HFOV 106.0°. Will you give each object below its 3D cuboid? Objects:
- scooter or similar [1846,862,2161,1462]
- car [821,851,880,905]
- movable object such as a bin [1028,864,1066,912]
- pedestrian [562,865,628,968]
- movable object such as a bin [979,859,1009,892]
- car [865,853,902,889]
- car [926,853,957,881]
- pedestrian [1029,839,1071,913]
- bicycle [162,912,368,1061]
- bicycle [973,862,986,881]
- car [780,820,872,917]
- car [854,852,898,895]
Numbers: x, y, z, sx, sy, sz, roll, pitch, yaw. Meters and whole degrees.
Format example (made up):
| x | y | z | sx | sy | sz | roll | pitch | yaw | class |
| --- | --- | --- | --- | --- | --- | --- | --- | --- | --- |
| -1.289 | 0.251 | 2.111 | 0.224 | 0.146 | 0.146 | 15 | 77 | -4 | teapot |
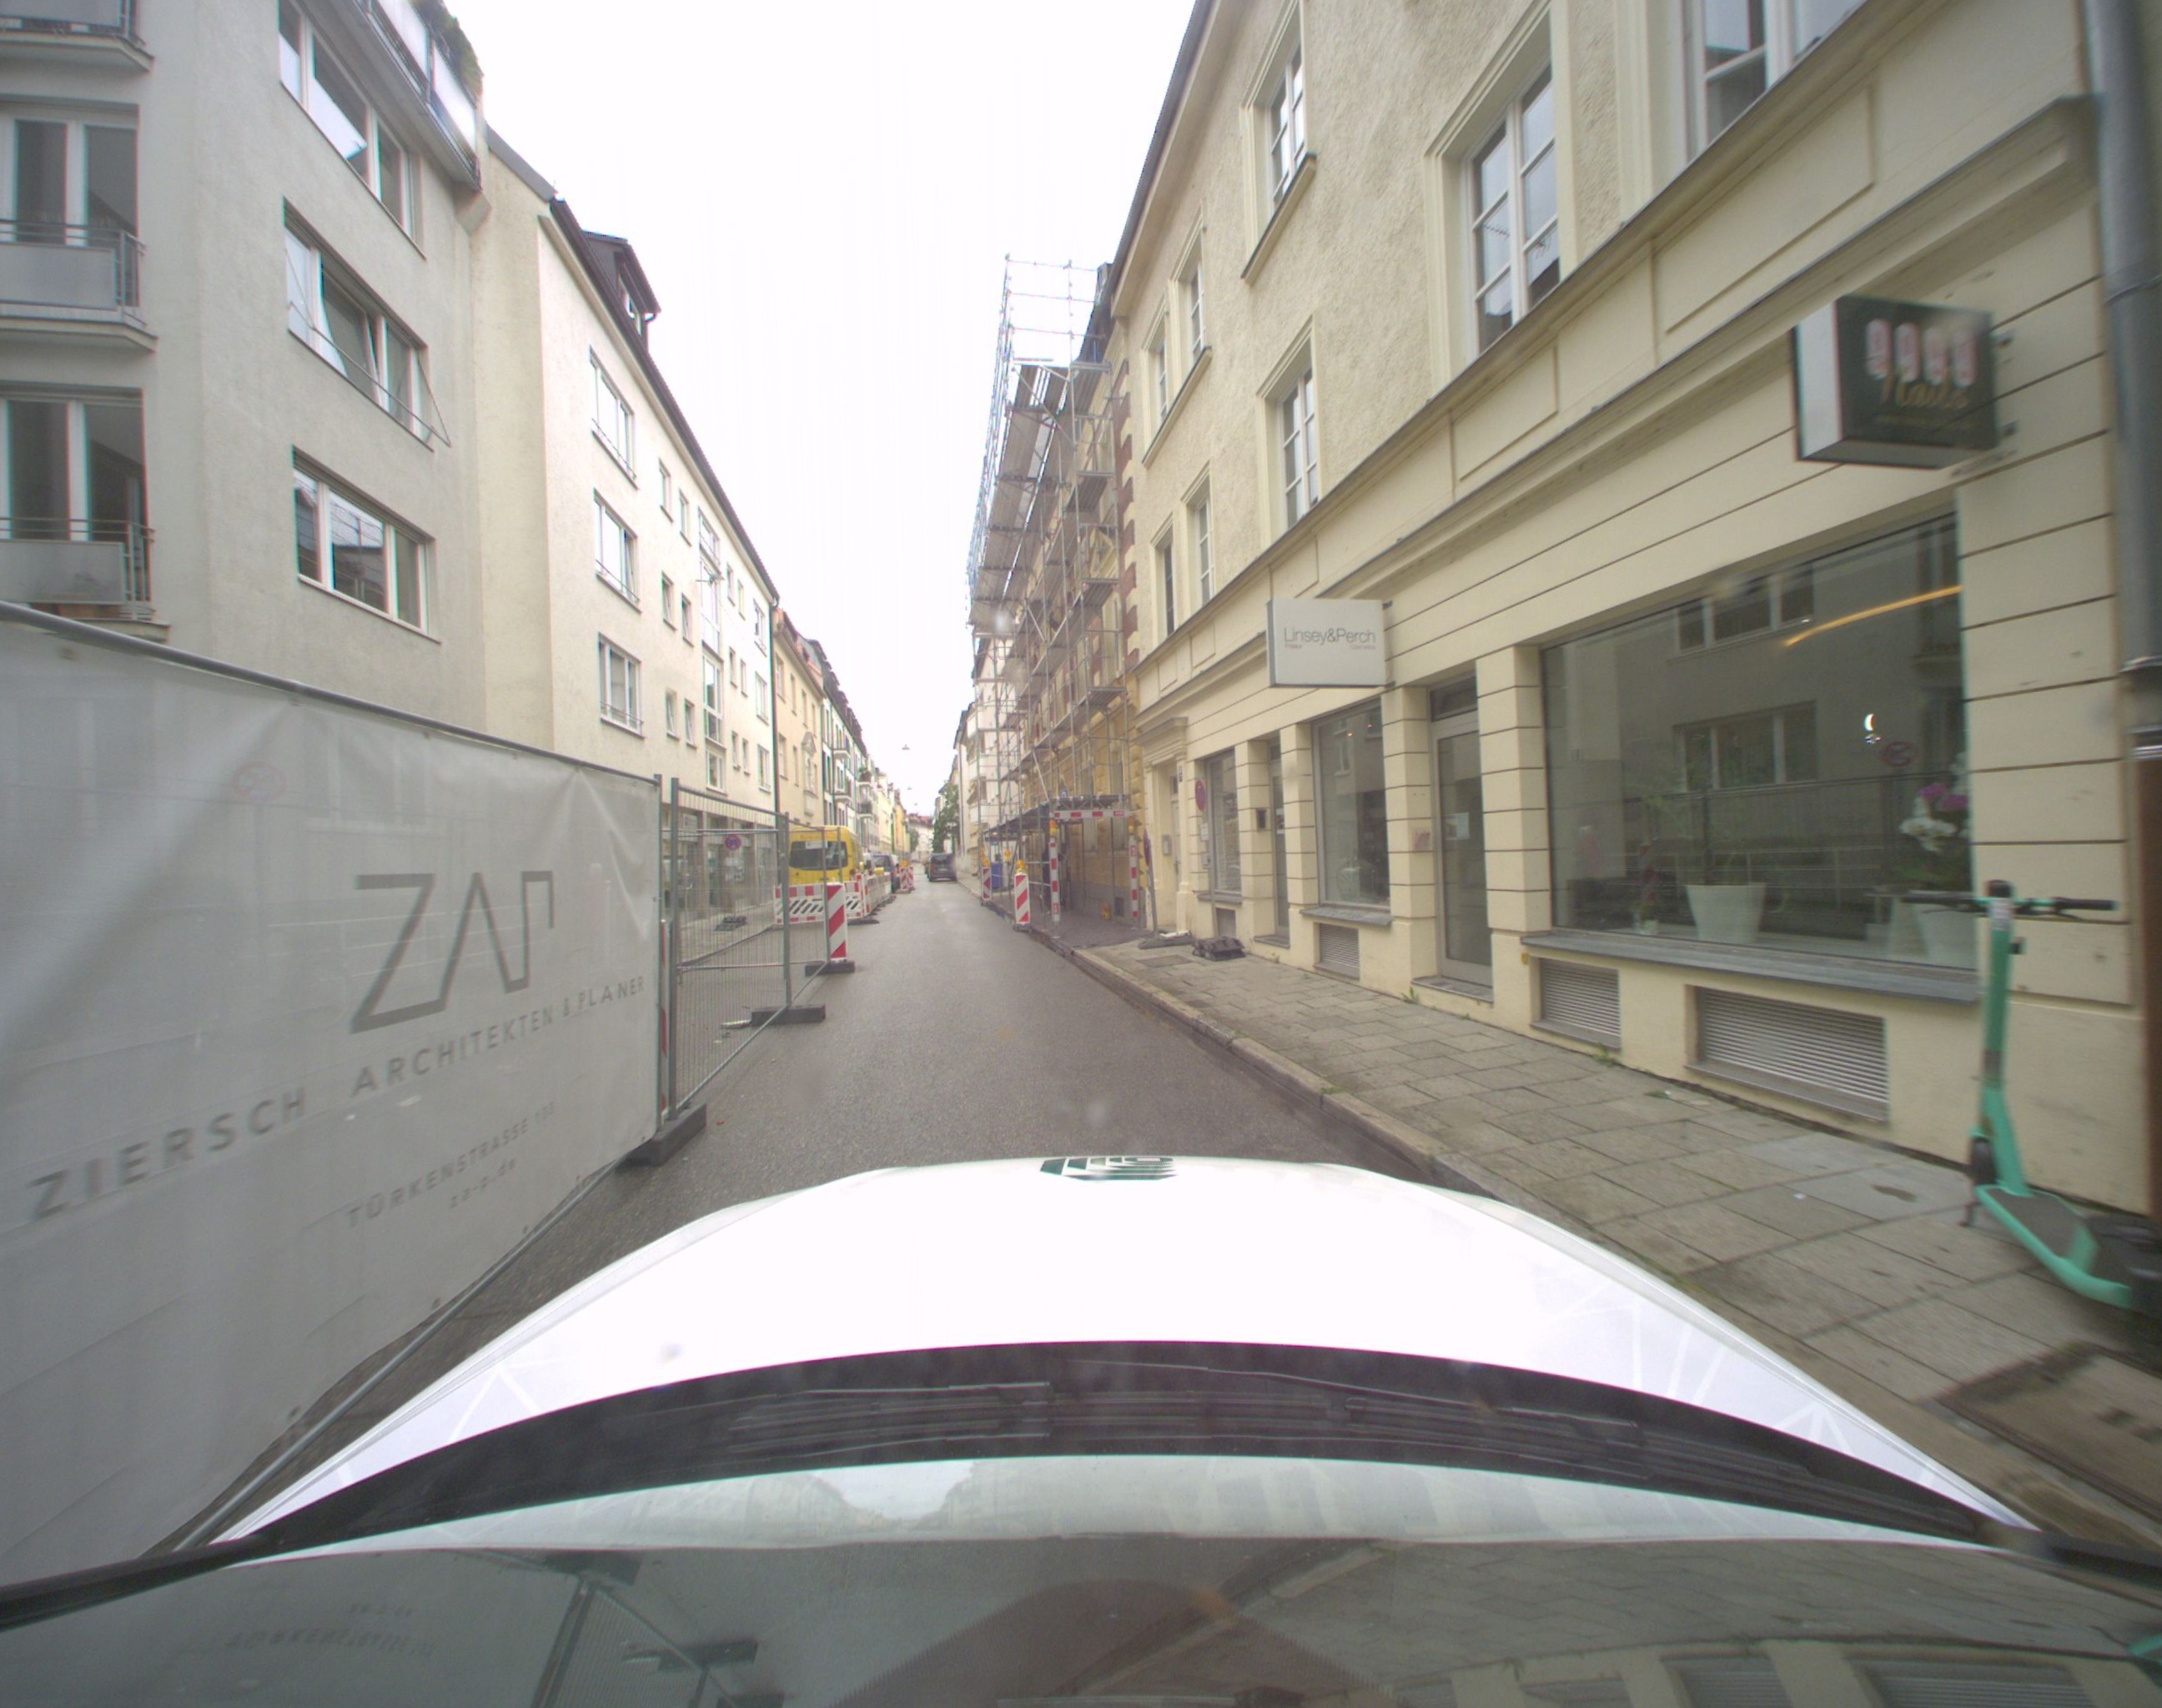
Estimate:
| x | y | z | sx | sy | sz | roll | pitch | yaw | class |
| --- | --- | --- | --- | --- | --- | --- | --- | --- | --- |
| 2.878 | 0.679 | 2.380 | 0.489 | 1.183 | 1.618 | -5 | 1 | 29 | scooter or similar |
| -9.270 | 0.937 | 33.088 | 1.919 | 1.897 | 4.770 | -4 | 0 | -12 | car |
| -0.908 | 0.880 | 21.331 | 0.730 | 1.140 | 0.984 | -6 | 1 | -12 | movable object such as a bin |
| -7.555 | 0.950 | 12.693 | 0.638 | 1.532 | 0.745 | -1 | 0 | -9 | pedestrian |
| -3.878 | 0.962 | 36.476 | 1.082 | 1.346 | 1.318 | -5 | 0 | 1 | movable object such as a bin |
| -11.433 | 0.968 | 47.083 | 1.907 | 1.897 | 5.064 | -2 | 0 | -14 | car |
| -9.913 | 0.891 | 57.766 | 1.995 | 1.932 | 4.641 | -1 | 0 | -12 | car |
| -0.793 | 0.548 | 20.667 | 0.730 | 1.752 | 0.984 | -6 | 1 | -12 | pedestrian |
| -7.143 | 1.110 | 7.234 | 0.377 | 1.063 | 1.592 | 4 | -1 | -10 | bicycle |
| -6.437 | 1.097 | 51.728 | 0.638 | 1.153 | 1.908 | -5 | 1 | -10 | bicycle |
| -7.887 | 0.411 | 25.834 | 1.995 | 2.578 | 6.709 | -3 | 0 | -12 | car |
| -10.293 | 0.932 | 41.127 | 1.728 | 1.897 | 5.487 | -4 | 0 | -11 | car |
